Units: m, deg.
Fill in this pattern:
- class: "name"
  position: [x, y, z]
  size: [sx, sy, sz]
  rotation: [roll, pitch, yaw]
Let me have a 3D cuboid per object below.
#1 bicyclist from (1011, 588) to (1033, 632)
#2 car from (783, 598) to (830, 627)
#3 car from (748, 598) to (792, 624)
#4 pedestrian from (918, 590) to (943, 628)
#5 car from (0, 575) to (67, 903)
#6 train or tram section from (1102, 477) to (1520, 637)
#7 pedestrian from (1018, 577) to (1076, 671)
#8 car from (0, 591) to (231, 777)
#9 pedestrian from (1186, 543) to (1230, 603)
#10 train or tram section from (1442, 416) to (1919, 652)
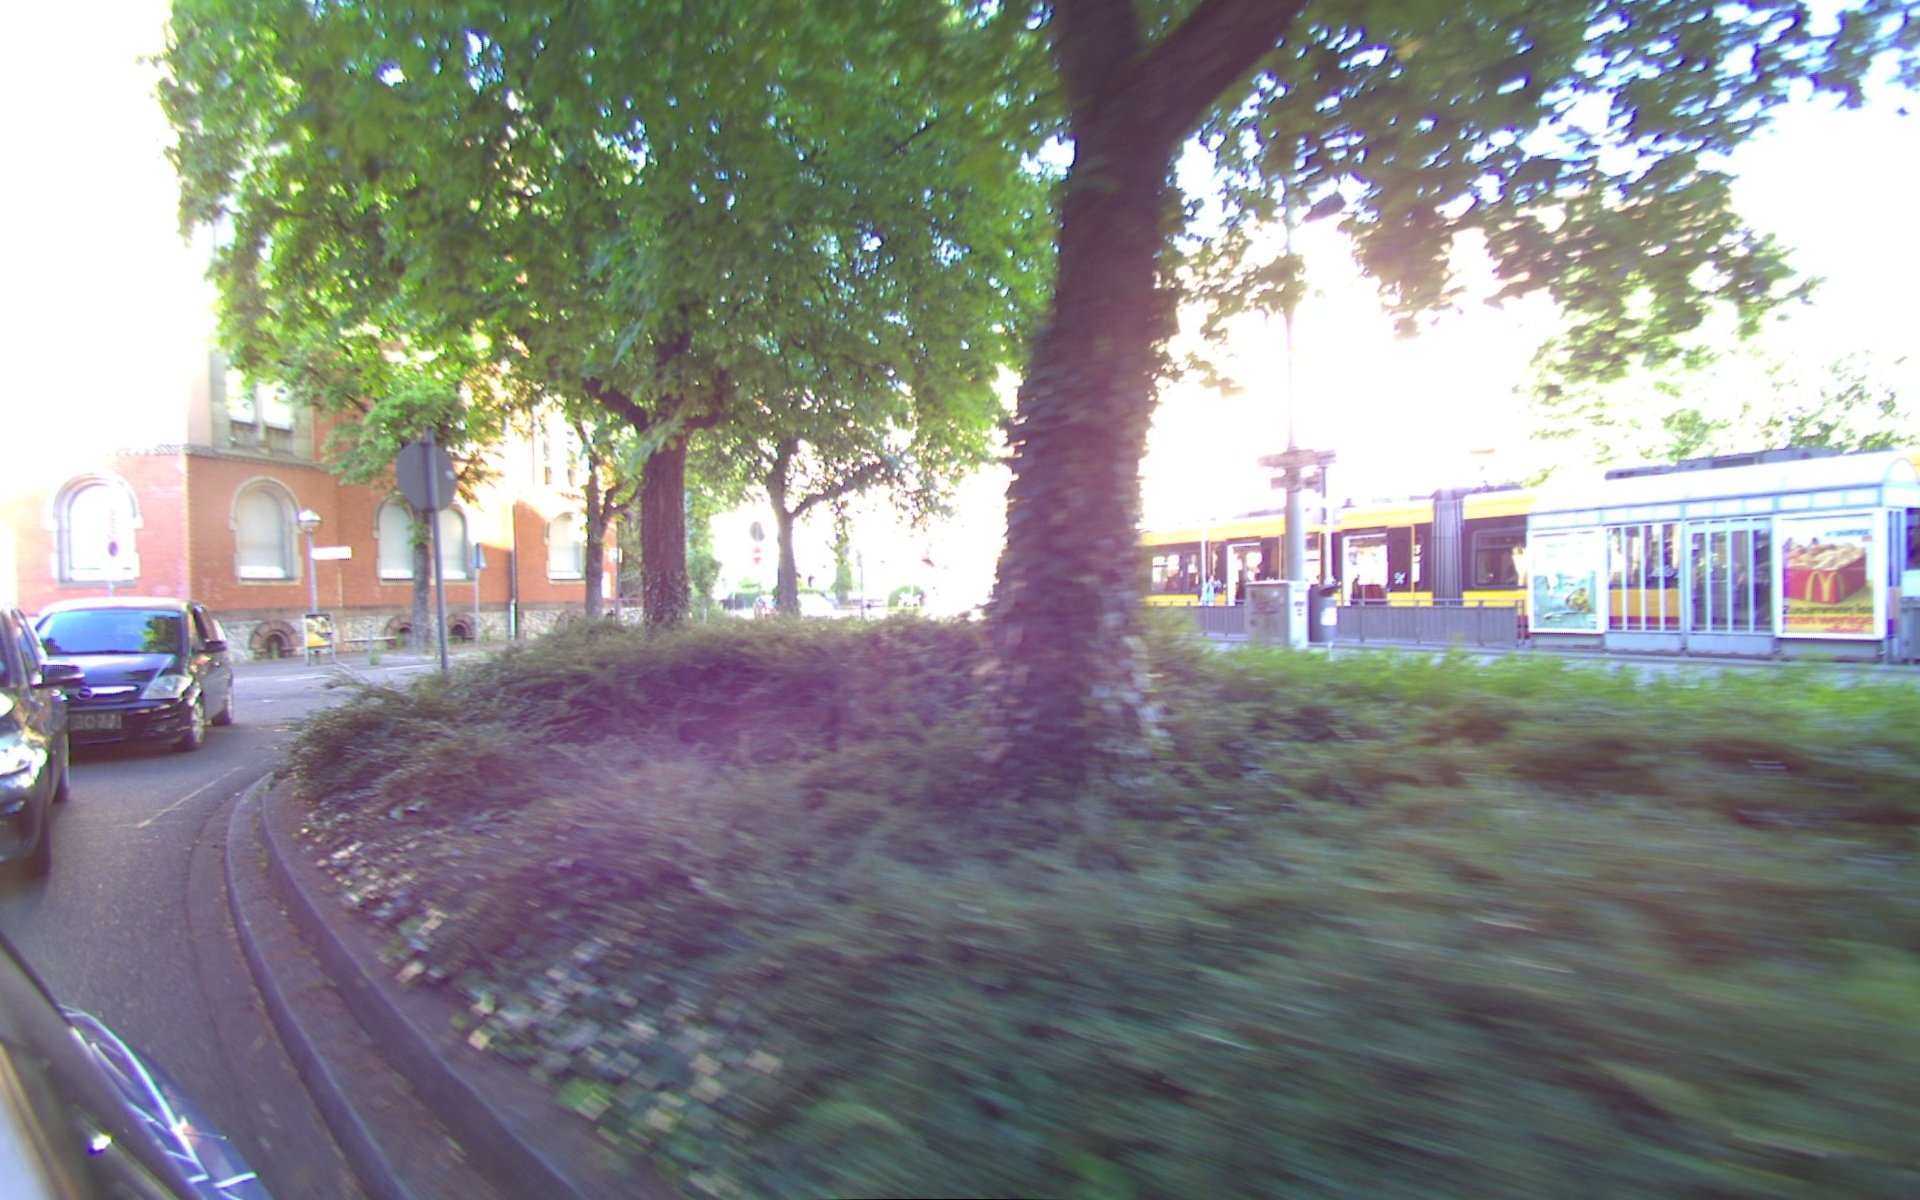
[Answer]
- class: "bicyclist"
  position: [2.277, 0.365, 37.123]
  size: [0.588, 1.585, 0.557]
  rotation: [-1, 0, -26]
- class: "car"
  position: [-8.405, 0.664, 55.186]
  size: [1.707, 1.428, 4.013]
  rotation: [-2, 0, -21]
- class: "car"
  position: [-11.777, 0.648, 62.651]
  size: [1.707, 1.427, 4.014]
  rotation: [-2, 2, -25]
- class: "pedestrian"
  position: [-1.350, 0.411, 46.510]
  size: [0.723, 1.647, 0.896]
  rotation: [-2, 2, 30]
- class: "car"
  position: [-6.614, 0.707, 6.064]
  size: [1.766, 1.590, 4.268]
  rotation: [-1, 0, -40]
- class: "train or tram section"
  position: [9.012, -0.981, 28.910]
  size: [2.726, 3.584, 12.722]
  rotation: [-2, 1, -28]
- class: "pedestrian"
  position: [1.401, 0.370, 16.279]
  size: [0.698, 1.454, 0.602]
  rotation: [-2, 1, -22]
- class: "car"
  position: [-9.100, 0.765, 10.975]
  size: [1.652, 1.640, 3.698]
  rotation: [-2, 1, -32]
- class: "pedestrian"
  position: [7.031, -0.769, 28.666]
  size: [0.715, 1.647, 0.905]
  rotation: [-4, 2, -43]
- class: "train or tram section"
  position: [14.991, -1.037, 17.811]
  size: [2.739, 3.614, 12.460]
  rotation: [-2, 1, -28]
